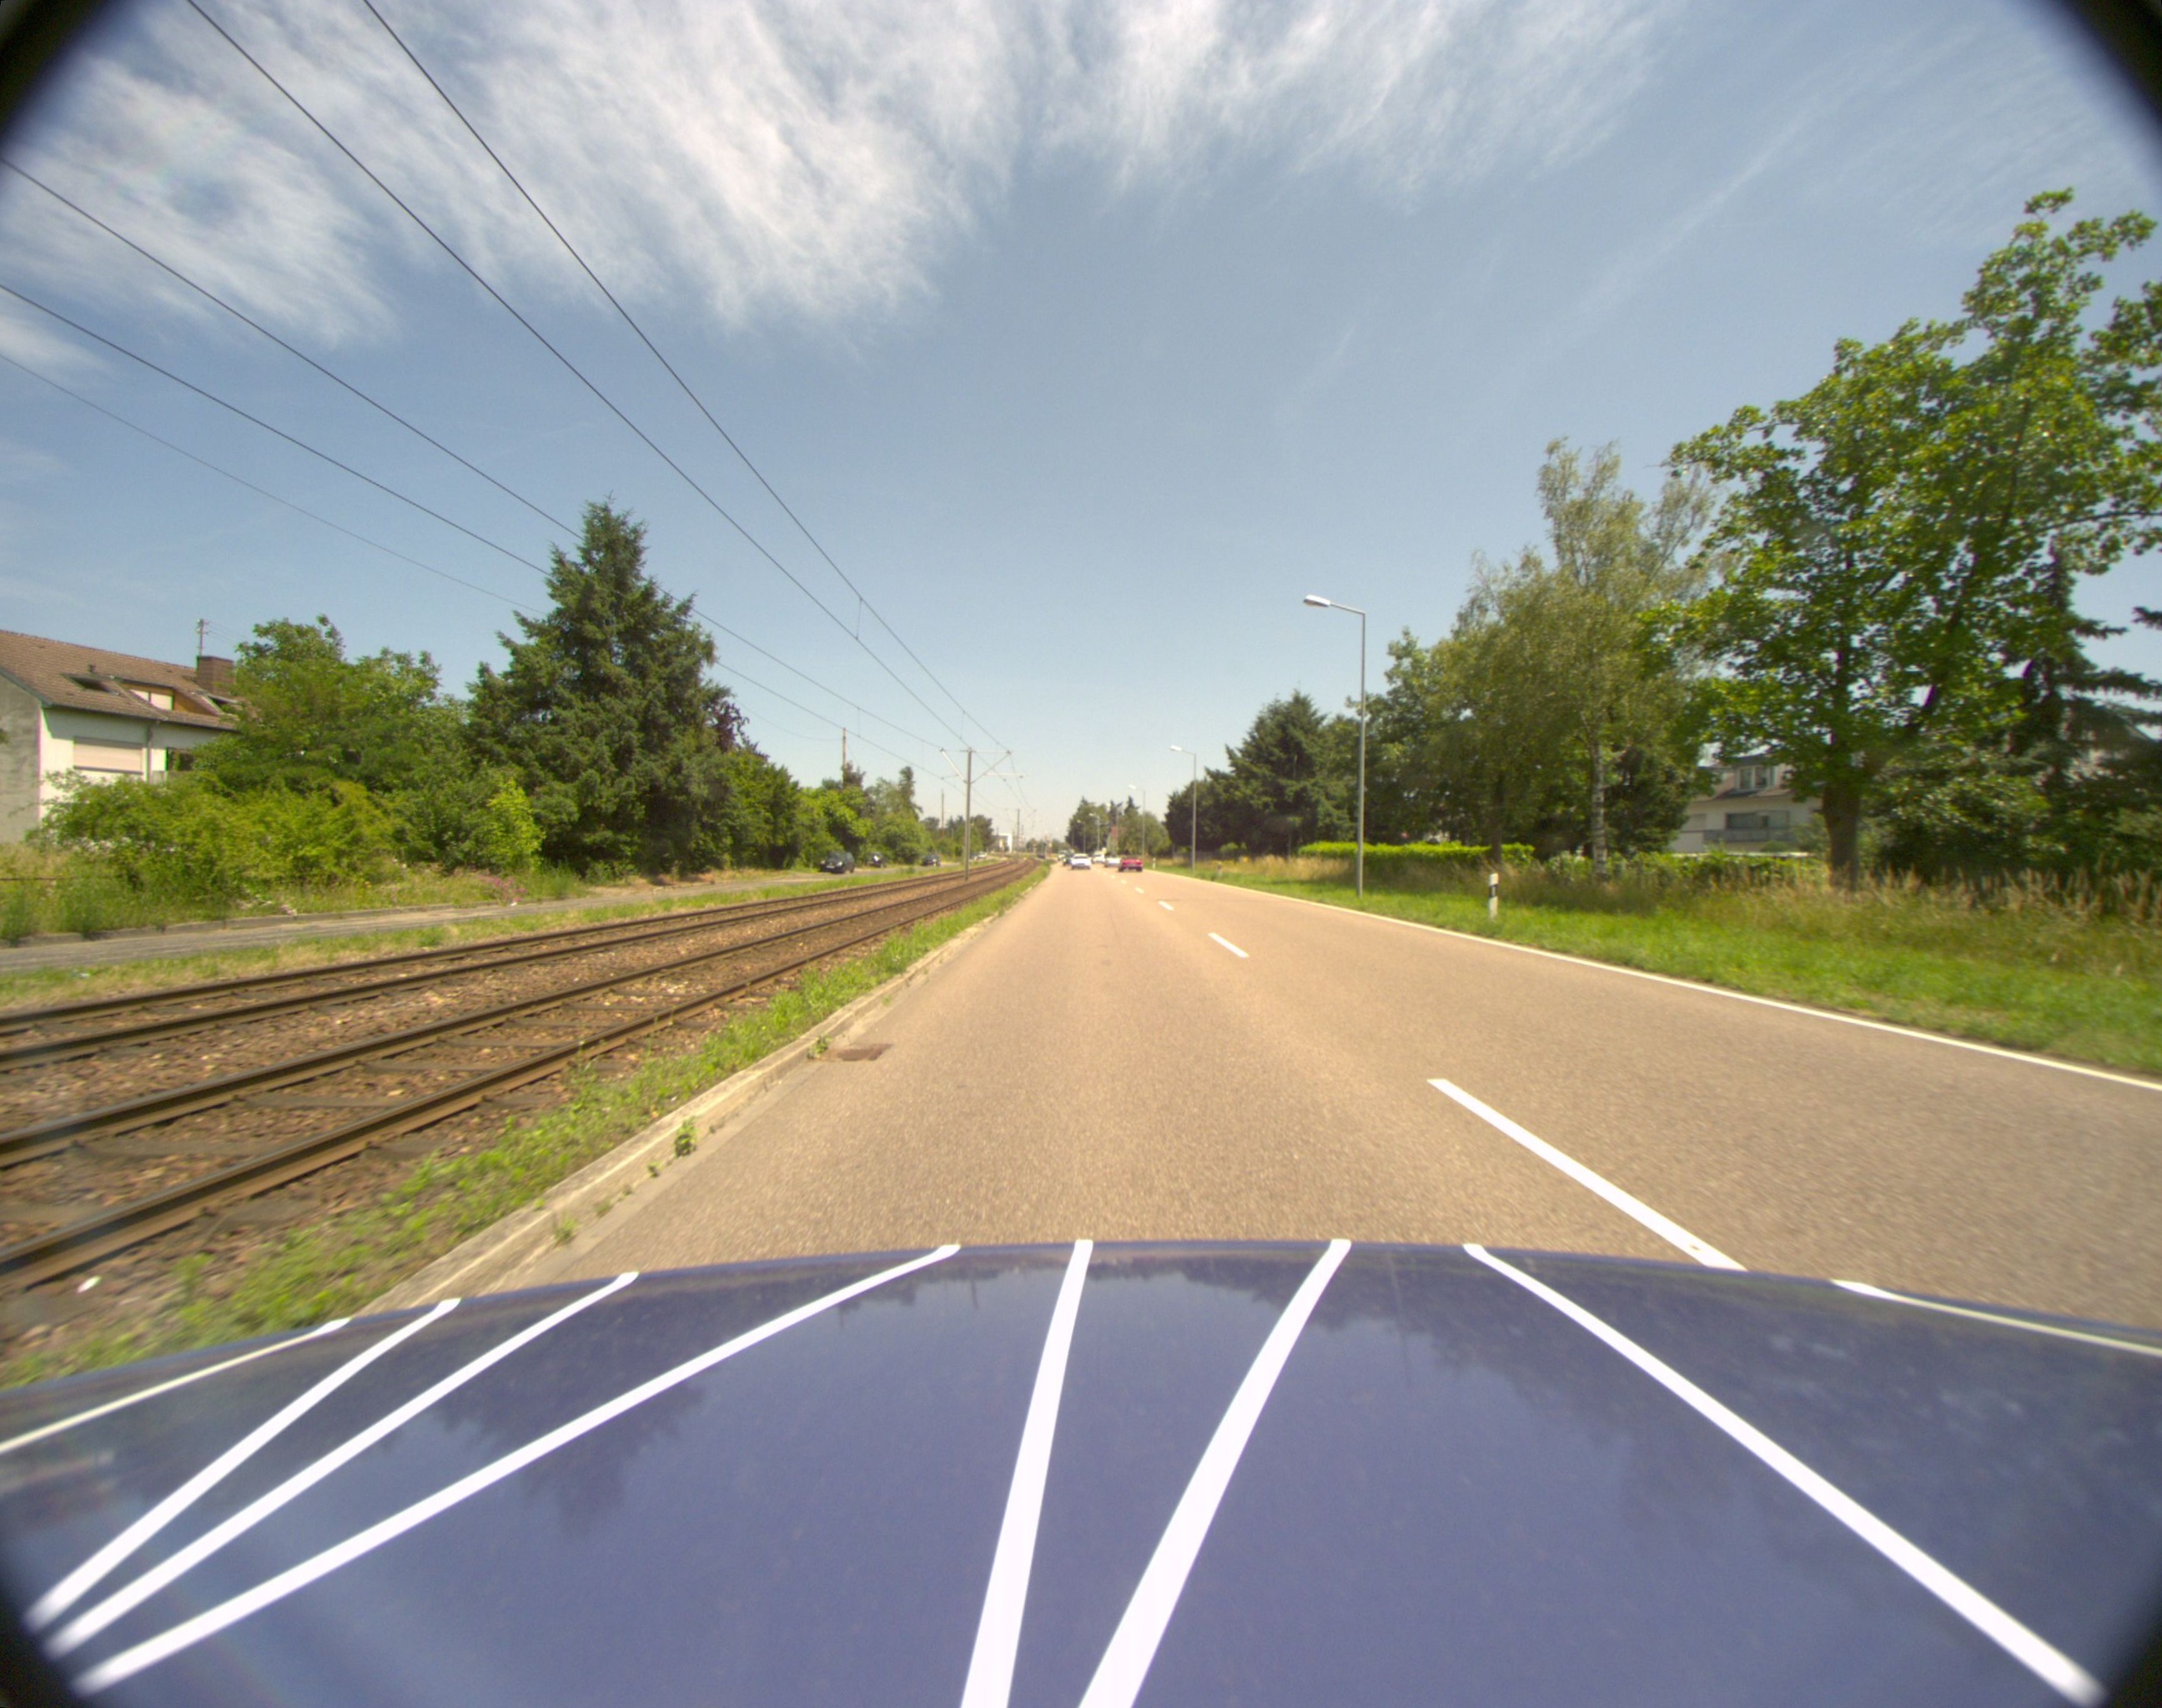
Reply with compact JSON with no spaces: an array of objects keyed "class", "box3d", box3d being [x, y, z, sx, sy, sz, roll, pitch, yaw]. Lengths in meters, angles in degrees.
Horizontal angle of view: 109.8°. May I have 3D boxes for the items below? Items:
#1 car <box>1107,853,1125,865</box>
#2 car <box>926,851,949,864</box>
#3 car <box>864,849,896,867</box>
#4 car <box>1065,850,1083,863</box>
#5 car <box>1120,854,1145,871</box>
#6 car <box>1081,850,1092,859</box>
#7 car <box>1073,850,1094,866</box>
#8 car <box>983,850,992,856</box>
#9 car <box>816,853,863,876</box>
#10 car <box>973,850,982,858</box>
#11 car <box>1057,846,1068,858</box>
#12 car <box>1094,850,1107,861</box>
[{"class":"car","box3d":[3.692,0.532,81.003,1.686,1.242,3.908,0,1,-1]},{"class":"car","box3d":[-15.750,0.333,83.656,1.866,1.322,4.513,0,1,-4]},{"class":"car","box3d":[-18.150,0.305,68.747,1.940,1.552,4.554,0,1,-4]},{"class":"car","box3d":[-0.829,0.280,90.198,1.999,1.576,3.998,0,1,-3]},{"class":"car","box3d":[4.143,0.635,61.699,1.753,1.293,4.252,0,1,-1]},{"class":"car","box3d":[0.841,0.095,123.317,1.705,1.483,4.439,0,1,-1]},{"class":"car","box3d":[0.242,0.399,72.673,1.857,1.447,3.705,0,1,-3]},{"class":"car","box3d":[-21.221,-0.175,172.983,1.945,1.414,3.997,0,1,-5]},{"class":"car","box3d":[-16.329,0.655,51.572,1.919,1.462,3.999,0,1,-1]},{"class":"car","box3d":[-21.028,-0.019,154.284,1.624,1.414,4.870,0,1,-4]},{"class":"car","box3d":[-3.363,-0.383,138.355,1.938,2.002,3.998,0,1,-4]},{"class":"car","box3d":[2.709,0.248,106.484,1.751,1.494,3.706,0,1,-1]}]
